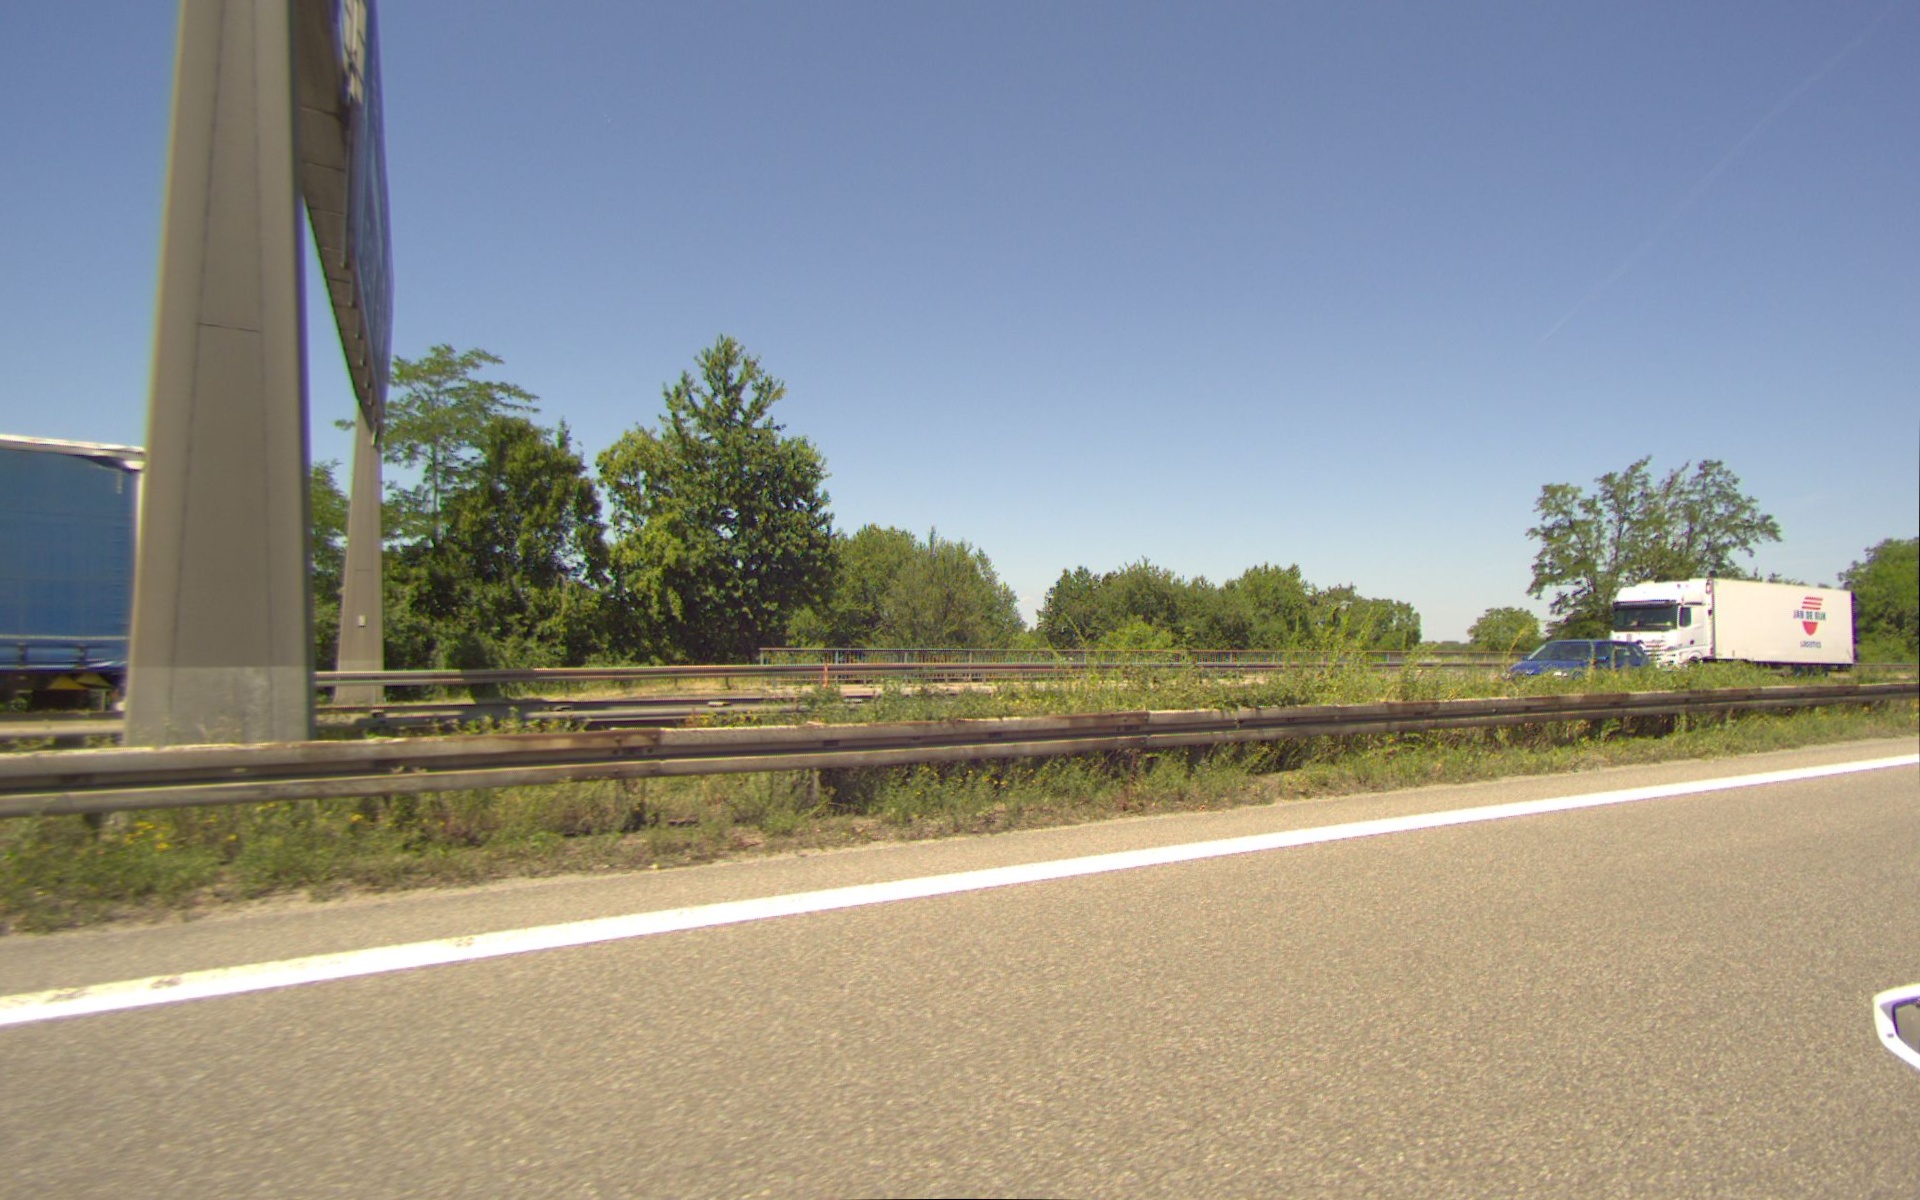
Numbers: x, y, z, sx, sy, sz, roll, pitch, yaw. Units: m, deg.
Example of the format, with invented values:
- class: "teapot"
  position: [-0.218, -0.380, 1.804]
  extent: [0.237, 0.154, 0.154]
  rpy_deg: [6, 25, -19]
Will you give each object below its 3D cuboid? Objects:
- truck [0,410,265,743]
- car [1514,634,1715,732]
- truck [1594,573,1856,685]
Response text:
- class: "truck"
  position: [-18.606, -0.449, 11.576]
  extent: [17.122, 4.447, 2.699]
  rpy_deg: [2, -1, -30]
- class: "car"
  position: [15.175, 1.839, 23.245]
  extent: [4.641, 2.040, 1.985]
  rpy_deg: [2, -2, -29]
- class: "truck"
  position: [33.090, 1.322, 42.909]
  extent: [16.833, 4.145, 2.946]
  rpy_deg: [2, -2, -31]
